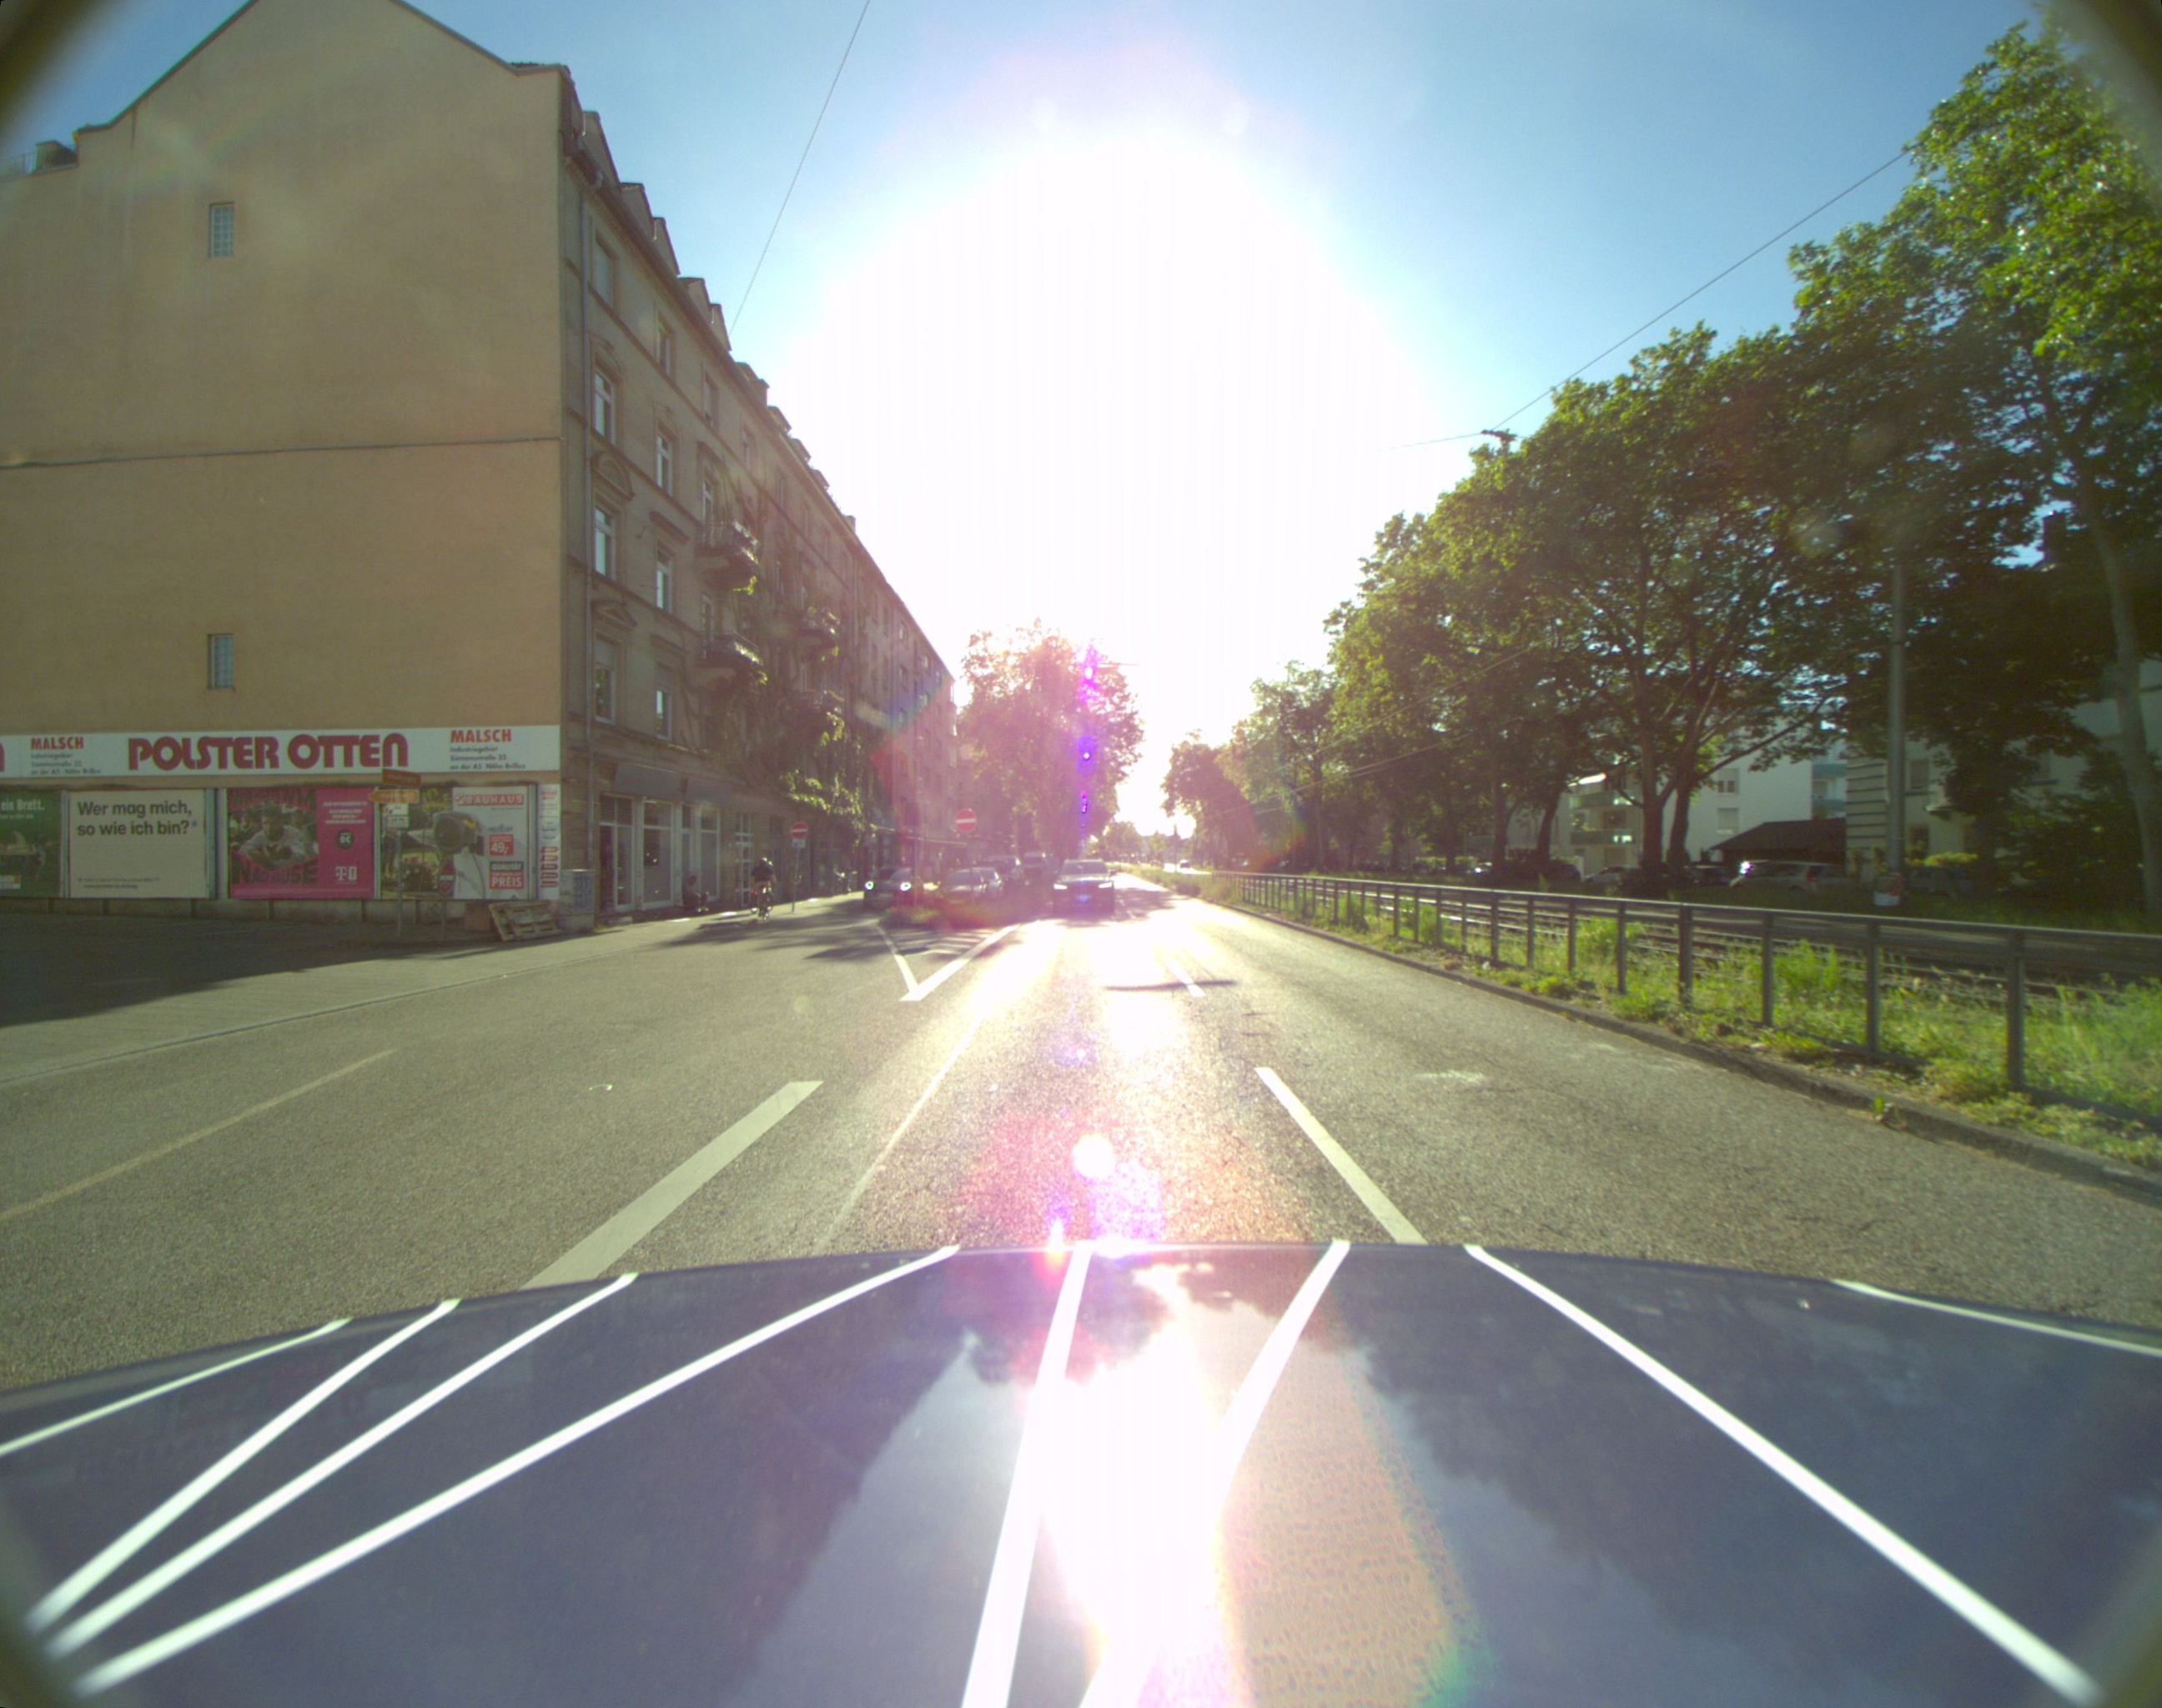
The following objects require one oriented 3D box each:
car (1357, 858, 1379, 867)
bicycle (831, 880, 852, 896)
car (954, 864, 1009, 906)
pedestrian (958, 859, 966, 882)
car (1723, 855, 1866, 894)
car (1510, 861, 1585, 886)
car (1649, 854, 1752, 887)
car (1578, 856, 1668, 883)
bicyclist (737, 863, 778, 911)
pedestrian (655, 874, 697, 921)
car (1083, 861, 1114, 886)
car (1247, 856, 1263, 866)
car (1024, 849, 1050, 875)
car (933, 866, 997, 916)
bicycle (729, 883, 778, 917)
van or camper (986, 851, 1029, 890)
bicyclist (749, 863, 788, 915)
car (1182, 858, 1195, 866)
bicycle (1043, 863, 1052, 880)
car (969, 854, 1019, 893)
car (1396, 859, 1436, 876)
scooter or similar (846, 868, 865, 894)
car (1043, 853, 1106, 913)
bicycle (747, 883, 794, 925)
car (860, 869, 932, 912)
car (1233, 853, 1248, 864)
[{"bbox_3d":[28.473,0.867,75.433,1.109,0.871,3.060,0,0,1],"label":"car"},{"bbox_3d":[-11.006,1.565,34.950,0.469,0.701,1.513,0,0,1],"label":"bicycle"},{"bbox_3d":[-4.029,1.230,31.273,1.743,1.508,3.999,-3,0,-1],"label":"car"},{"bbox_3d":[-9.313,1.304,59.496,0.470,1.822,0.516,0,0,1],"label":"pedestrian"},{"bbox_3d":[28.427,0.782,30.482,1.739,1.432,4.319,0,0,1],"label":"car"},{"bbox_3d":[28.406,1.172,46.433,1.998,1.444,4.319,0,0,1],"label":"car"},{"bbox_3d":[28.476,0.724,35.066,1.779,1.456,3.697,0,0,1],"label":"car"},{"bbox_3d":[28.535,0.778,40.179,1.644,1.316,4.461,2,0,1],"label":"car"},{"bbox_3d":[-10.311,1.028,24.251,0.678,1.437,1.182,3,0,1],"label":"bicyclist"},{"bbox_3d":[-11.461,1.232,21.526,0.717,1.253,0.713,4,0,1],"label":"pedestrian"},{"bbox_3d":[1.068,1.203,47.749,1.608,1.445,3.780,0,0,-3],"label":"car"},{"bbox_3d":[28.350,1.130,123.877,1.771,1.477,3.688,0,0,1],"label":"car"},{"bbox_3d":[-4.287,0.754,75.036,2.079,2.420,5.856,-1,0,1],"label":"car"},{"bbox_3d":[-4.012,1.236,26.822,1.645,1.508,3.999,-3,0,-1],"label":"car"},{"bbox_3d":[-10.368,1.448,24.131,0.651,0.915,1.918,4,1,1],"label":"bicycle"},{"bbox_3d":[-4.008,0.883,42.027,1.888,2.002,5.094,0,0,0],"label":"van or camper"},{"bbox_3d":[-9.048,1.004,22.026,0.747,1.453,0.951,-2,1,-5],"label":"bicyclist"},{"bbox_3d":[20.634,1.519,145.799,1.862,1.637,4.460,0,0,-1],"label":"car"},{"bbox_3d":[-2.486,1.292,56.912,0.466,1.206,1.751,0,0,5],"label":"bicycle"},{"bbox_3d":[-4.116,0.906,36.502,1.869,1.753,4.000,0,0,1],"label":"car"},{"bbox_3d":[28.775,1.133,65.410,1.801,1.464,4.000,0,0,1],"label":"car"},{"bbox_3d":[-10.639,1.252,35.845,0.638,1.166,1.731,0,0,-24],"label":"scooter or similar"},{"bbox_3d":[-0.137,0.892,25.204,1.876,1.788,4.633,0,0,1],"label":"car"},{"bbox_3d":[-9.023,1.422,22.178,0.758,1.095,1.952,0,0,-6],"label":"bicycle"},{"bbox_3d":[-7.068,1.382,29.520,1.702,1.518,4.382,-1,-2,0],"label":"car"},{"bbox_3d":[28.134,0.782,134.092,1.998,2.002,4.001,1,0,5],"label":"car"}]
